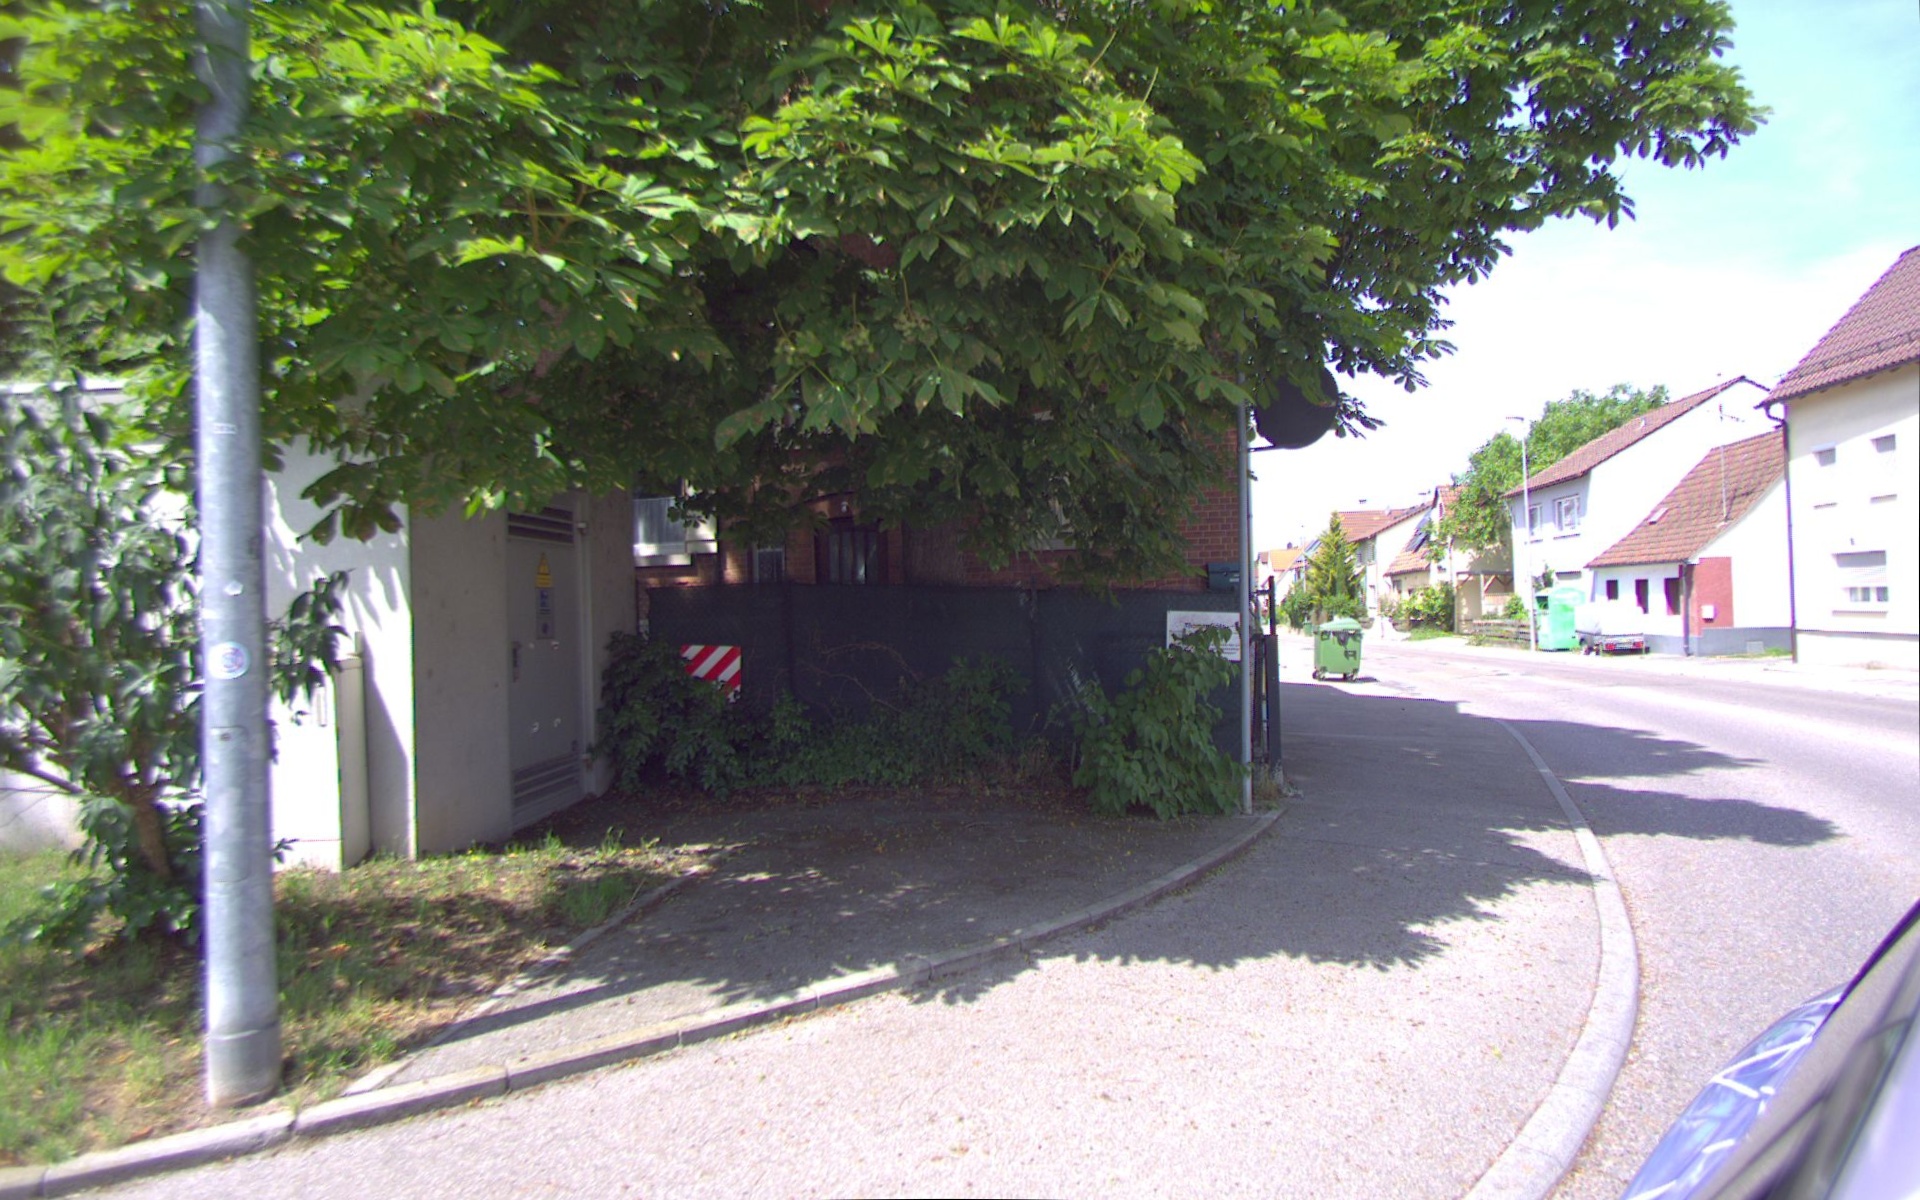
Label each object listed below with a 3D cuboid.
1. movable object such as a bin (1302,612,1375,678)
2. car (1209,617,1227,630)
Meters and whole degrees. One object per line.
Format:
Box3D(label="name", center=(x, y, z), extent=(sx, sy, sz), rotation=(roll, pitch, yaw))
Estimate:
Box3D(label="movable object such as a bin", center=(9.060, 1.067, 24.299), extent=(1.333, 1.541, 1.288), rotation=(-1, -1, 8))
Box3D(label="car", center=(29.432, 2.685, 115.416), extent=(1.623, 1.374, 3.556), rotation=(-1, -1, 10))
